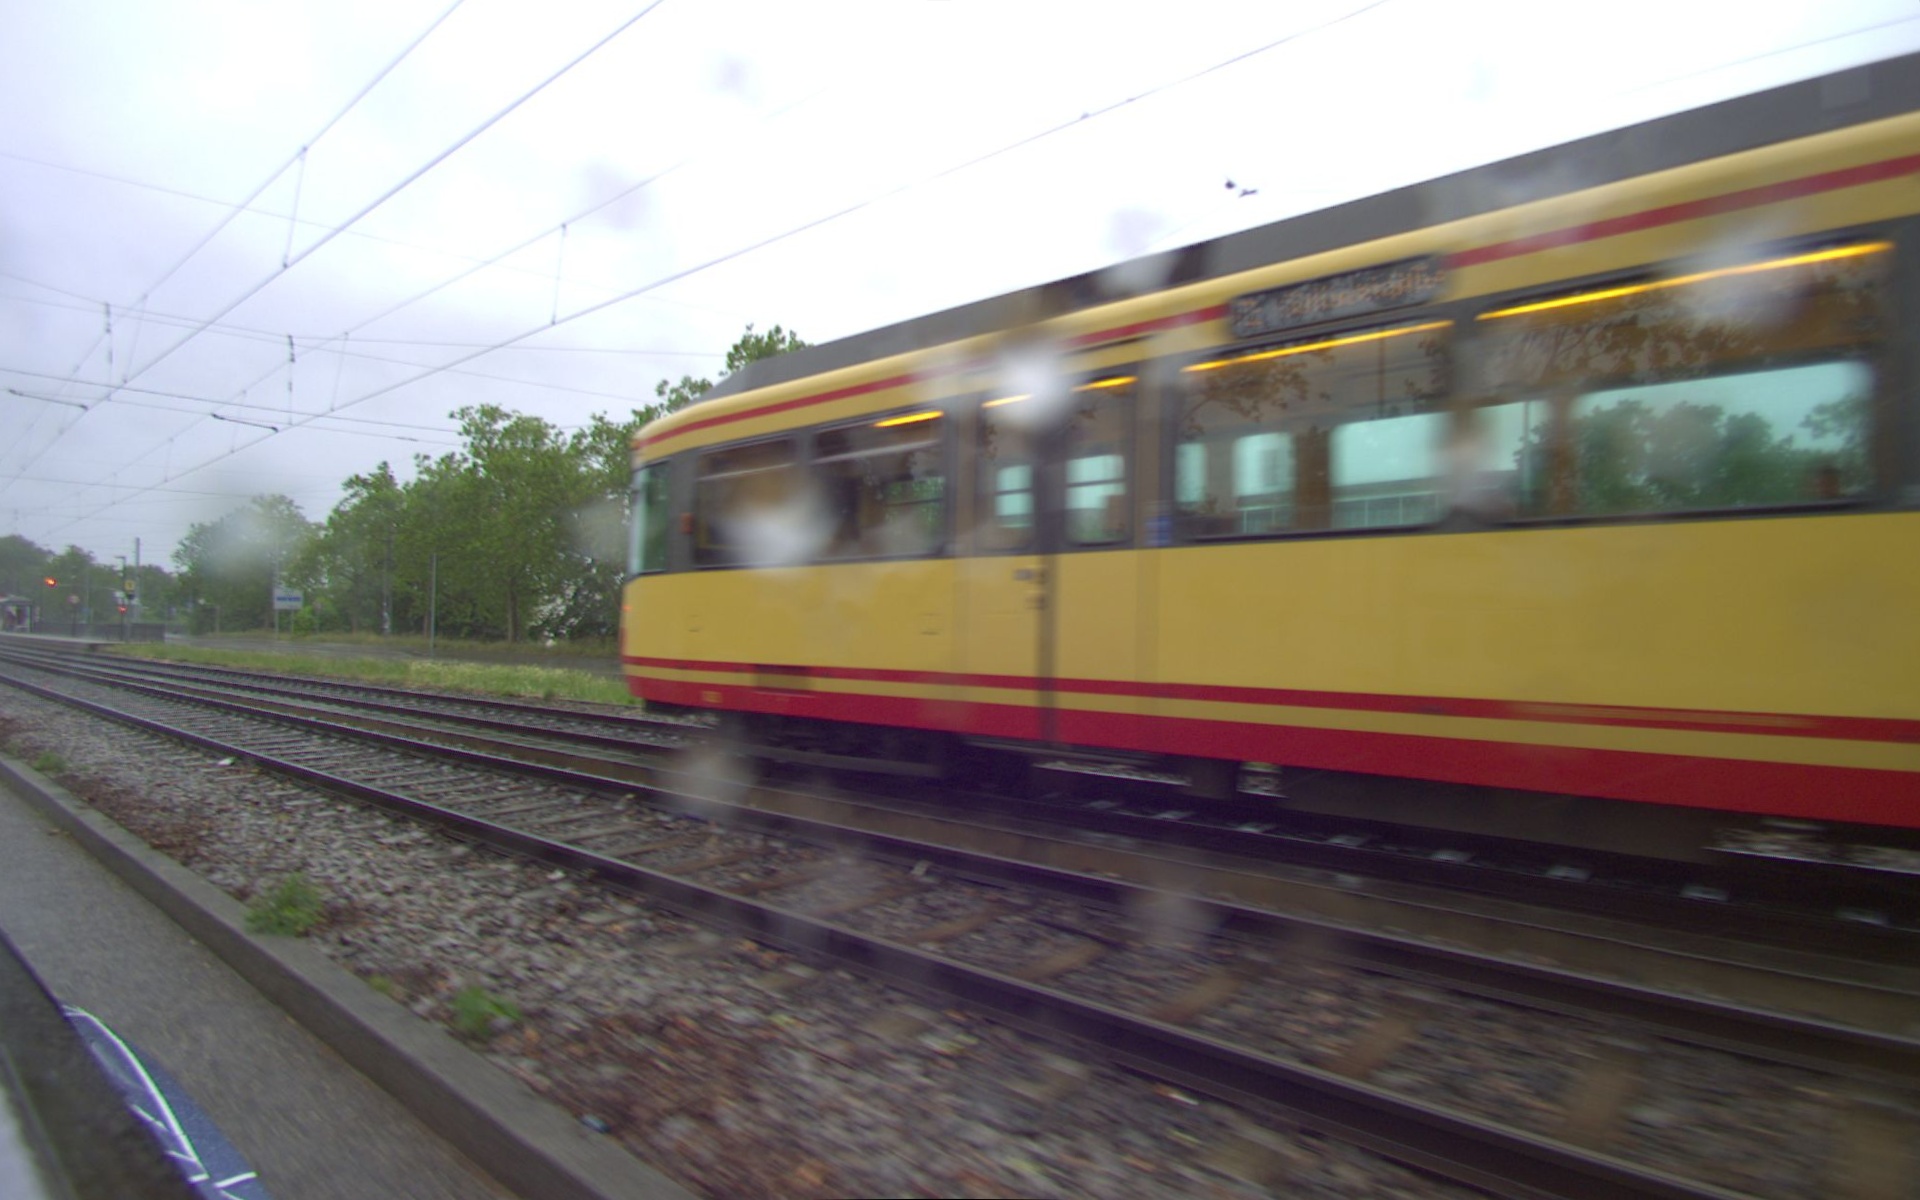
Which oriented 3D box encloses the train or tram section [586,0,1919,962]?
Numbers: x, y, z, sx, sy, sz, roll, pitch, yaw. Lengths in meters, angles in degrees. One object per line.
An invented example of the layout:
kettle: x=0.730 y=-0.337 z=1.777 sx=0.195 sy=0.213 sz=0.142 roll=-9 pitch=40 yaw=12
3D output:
train or tram section: x=1.953 y=-0.678 z=7.075 sx=13.013 sy=4.181 sz=2.777 roll=-1 pitch=-1 yaw=41

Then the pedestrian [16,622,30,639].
pedestrian: x=-77.644 y=2.509 z=83.862 sx=0.858 sy=1.326 sz=0.822 roll=-1 pitch=-1 yaw=42

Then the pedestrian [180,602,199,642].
pedestrian: x=-79.055 y=2.281 z=103.854 sx=1.152 sy=4.059 sz=1.524 roll=0 pitch=-1 yaw=-21
